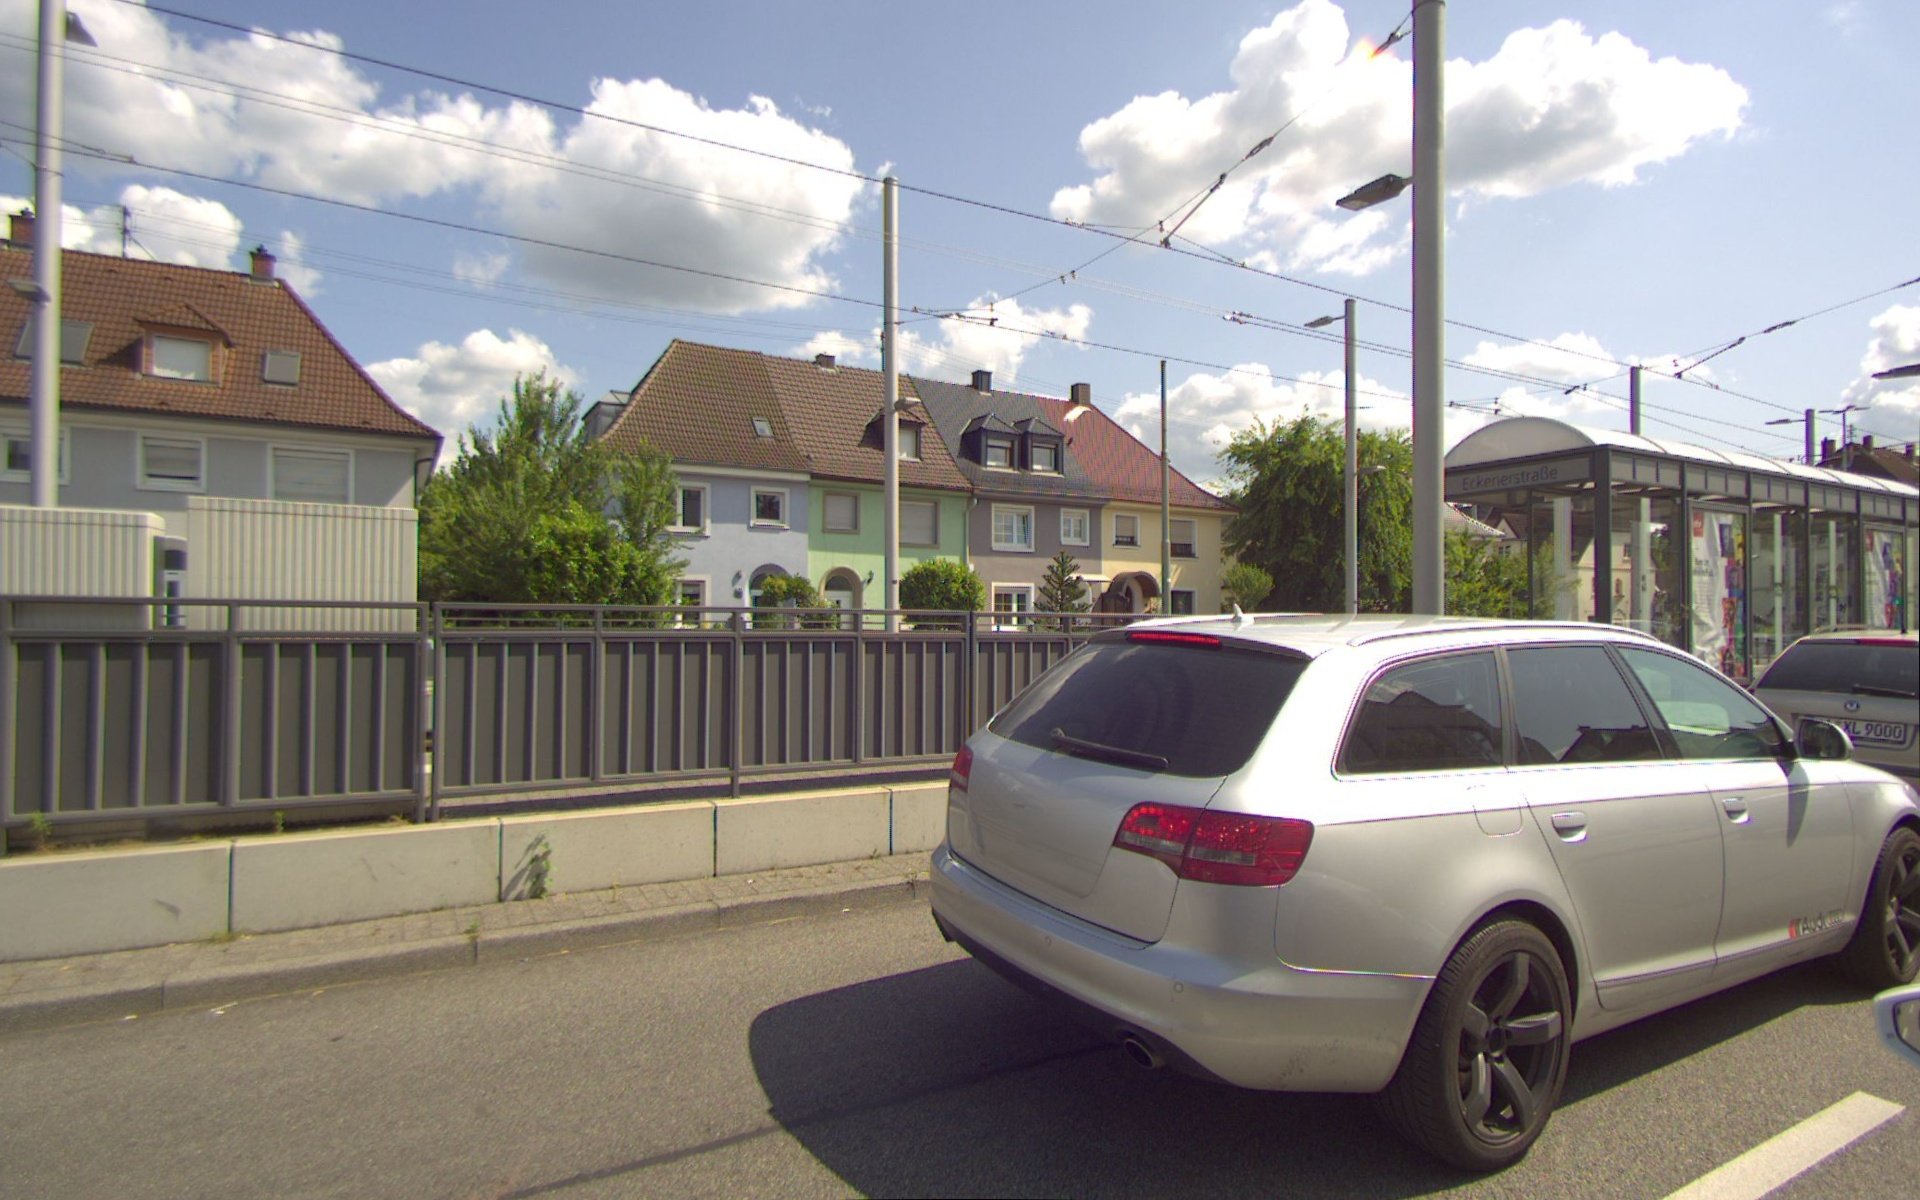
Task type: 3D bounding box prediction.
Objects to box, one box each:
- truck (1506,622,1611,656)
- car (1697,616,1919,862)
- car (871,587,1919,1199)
[{"bbox_3d":[39.894,2.561,67.150,1.667,1.947,6.166,2,0,-25],"label":"truck"},{"bbox_3d":[7.459,0.919,7.466,4.075,1.468,1.722,2,0,-30],"label":"car"},{"bbox_3d":[2.142,0.777,4.088,4.667,1.491,1.786,2,0,-31],"label":"car"}]
